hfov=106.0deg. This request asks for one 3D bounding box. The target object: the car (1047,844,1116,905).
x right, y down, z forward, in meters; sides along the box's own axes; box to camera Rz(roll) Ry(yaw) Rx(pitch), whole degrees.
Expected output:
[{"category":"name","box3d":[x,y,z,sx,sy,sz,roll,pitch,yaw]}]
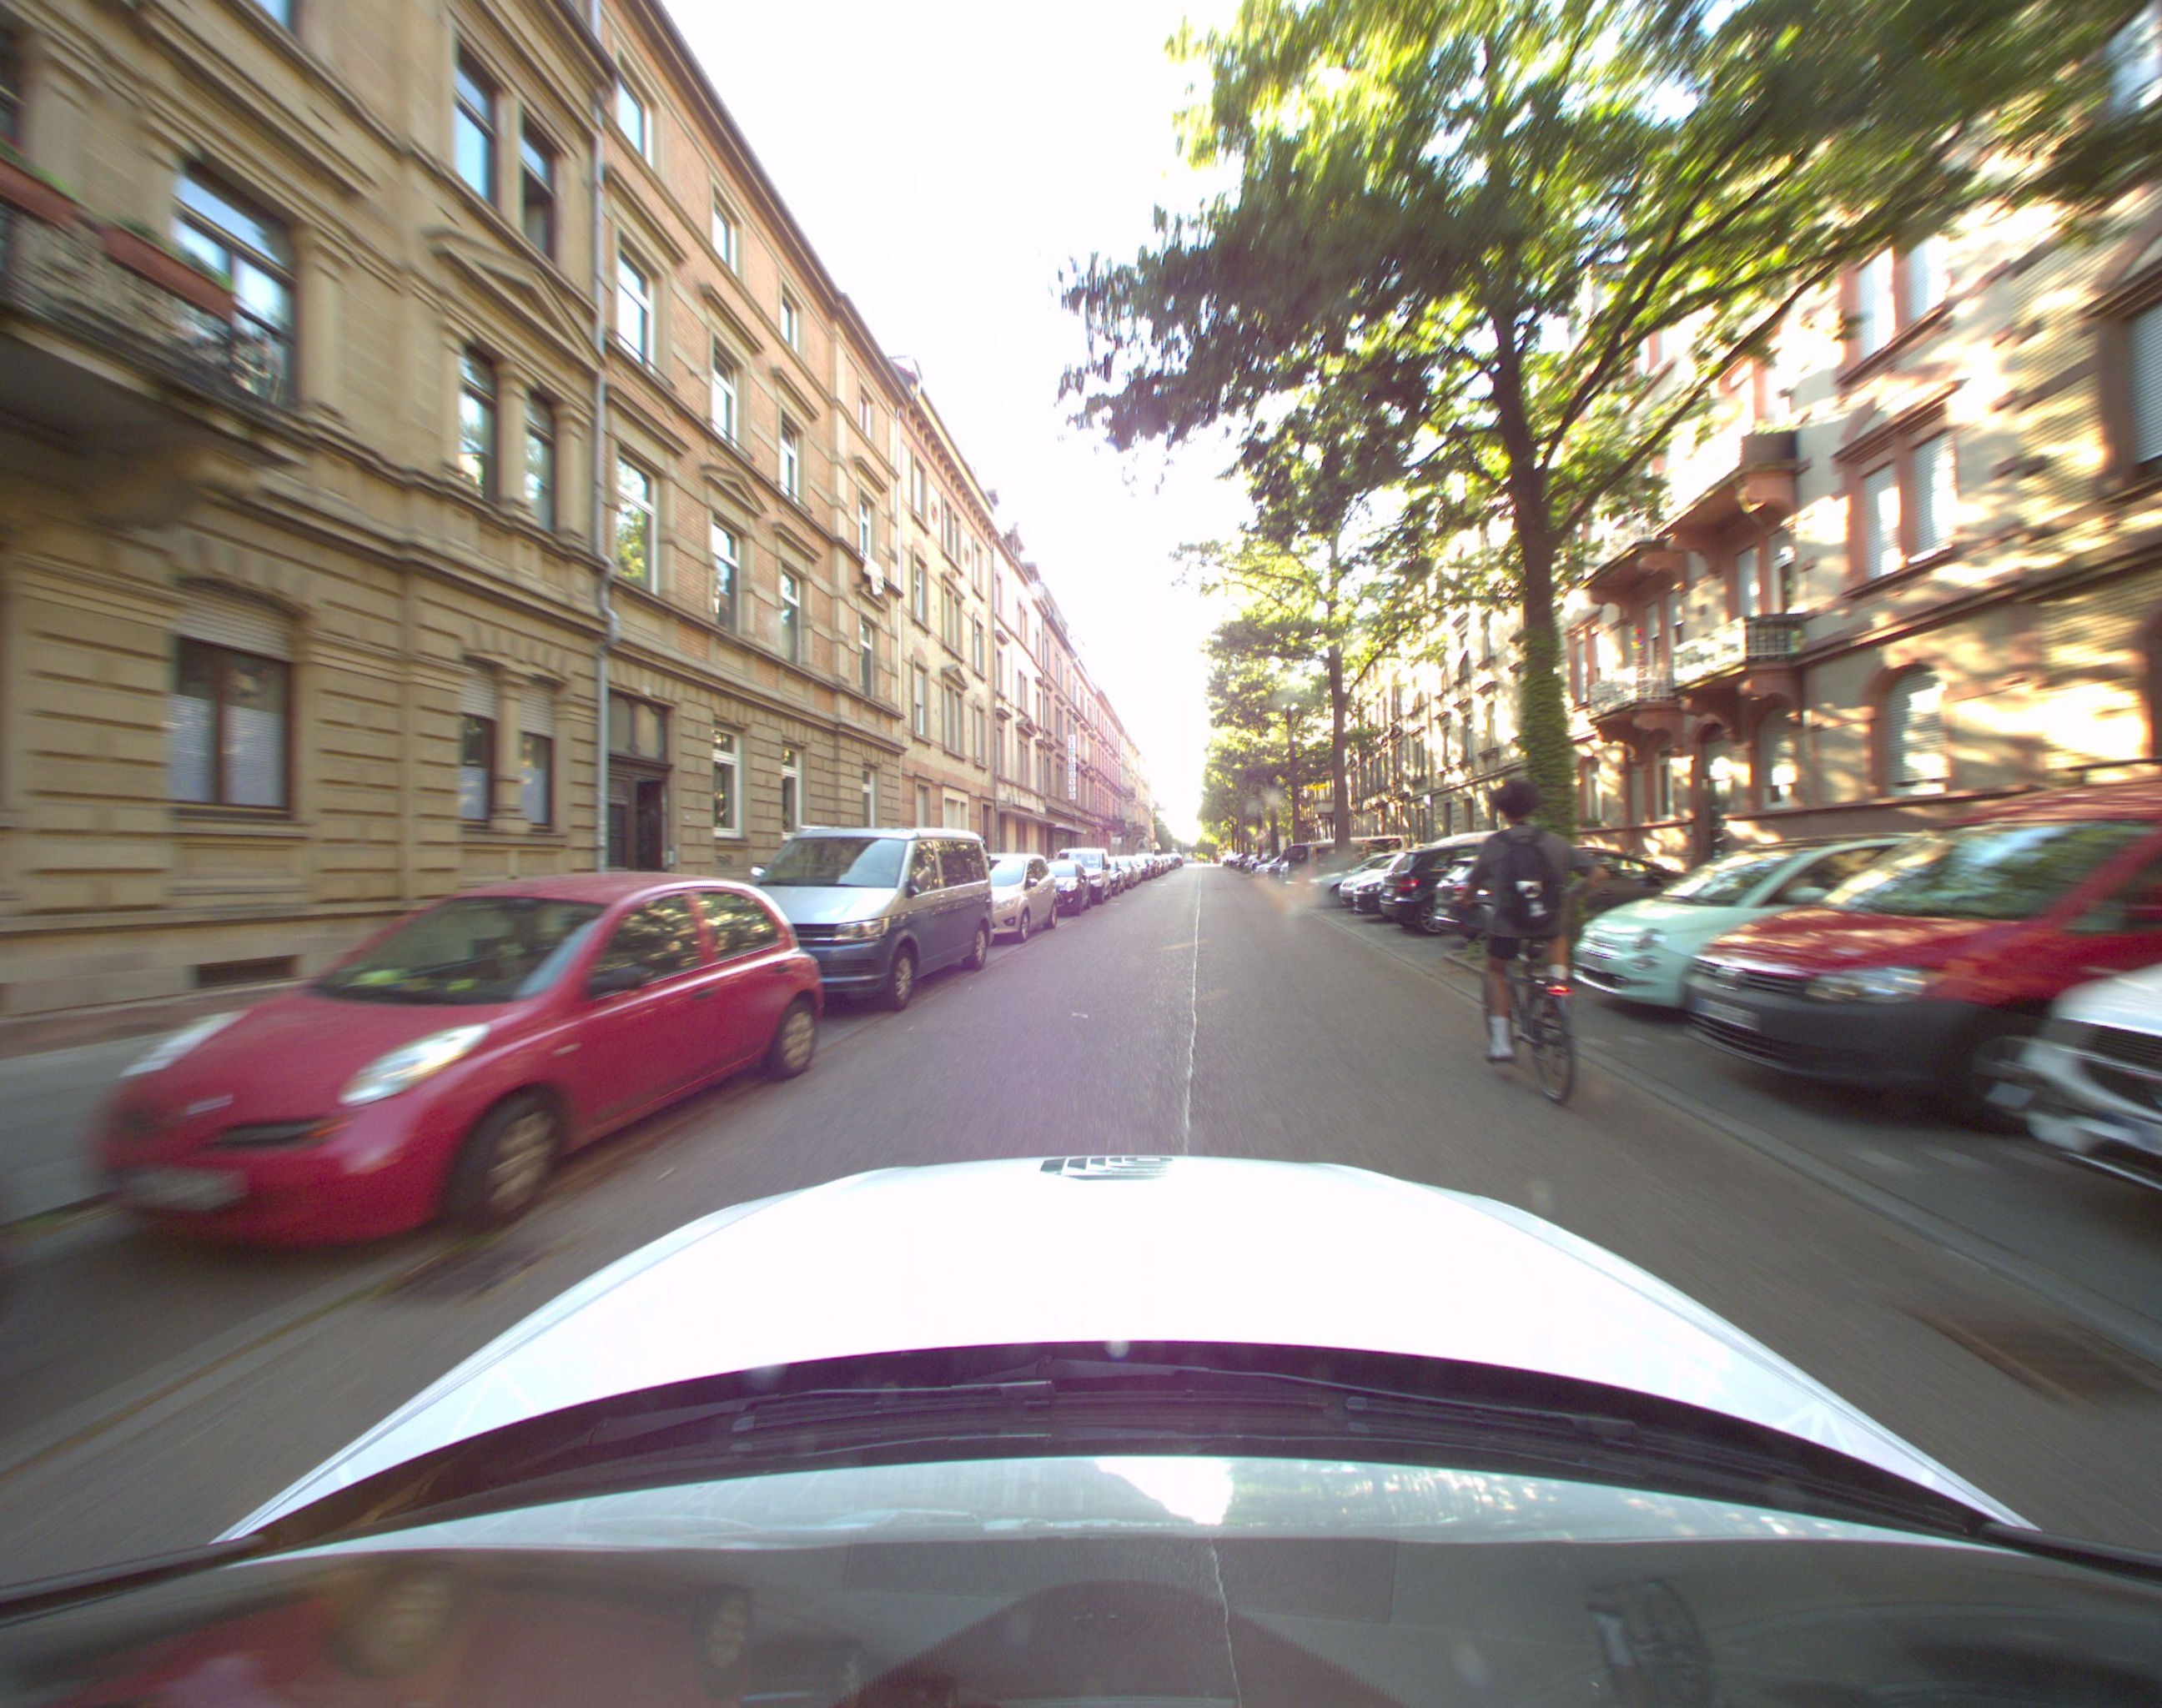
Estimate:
[{"category":"car","box3d":[0.101,0.646,27.774,1.749,1.842,4.539,-2,0,7]}]

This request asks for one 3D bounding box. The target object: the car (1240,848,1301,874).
[{"category":"car","box3d":[13.235,0.475,56.937,3.837,1.574,1.718,-3,-1,0]}]

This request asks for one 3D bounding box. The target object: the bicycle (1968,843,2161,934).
[{"category":"bicycle","box3d":[12.197,0.392,10.070,0.550,1.001,1.898,-3,-1,9]}]

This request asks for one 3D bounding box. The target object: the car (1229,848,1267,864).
[{"category":"car","box3d":[18.179,0.195,88.767,3.829,1.574,1.721,-3,-1,7]}]

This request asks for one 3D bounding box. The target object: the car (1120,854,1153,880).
[{"category":"car","box3d":[3.459,0.753,49.848,1.749,1.473,4.067,-2,0,7]}]

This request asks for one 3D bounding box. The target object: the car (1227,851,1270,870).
[{"category":"car","box3d":[15.750,0.611,76.692,3.828,1.574,1.722,-3,-1,8]}]

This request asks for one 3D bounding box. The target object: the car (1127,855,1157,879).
[{"category":"car","box3d":[4.130,0.829,54.577,1.749,1.473,4.067,-2,0,7]}]

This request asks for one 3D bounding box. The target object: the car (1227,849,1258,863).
[{"category":"car","box3d":[20.957,0.217,105.898,3.829,1.574,1.721,-3,-1,7]}]

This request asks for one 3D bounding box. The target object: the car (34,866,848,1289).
[{"category":"car","box3d":[-3.015,0.838,4.916,1.582,1.475,3.710,0,0,10]}]

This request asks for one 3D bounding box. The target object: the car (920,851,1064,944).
[{"category":"car","box3d":[-1.621,0.761,16.445,1.743,1.608,4.395,0,0,9]}]

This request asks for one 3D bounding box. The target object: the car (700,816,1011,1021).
[{"category":"car","box3d":[-2.418,0.609,10.435,1.821,1.943,5.272,0,0,8]}]

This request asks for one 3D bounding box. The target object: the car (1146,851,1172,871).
[{"category":"car","box3d":[6.434,0.636,66.926,1.982,1.486,4.008,-2,-2,7]}]

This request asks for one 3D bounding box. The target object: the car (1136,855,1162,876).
[{"category":"car","box3d":[5.107,0.823,61.011,1.749,1.473,4.067,-2,0,7]}]

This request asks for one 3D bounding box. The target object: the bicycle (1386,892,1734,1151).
[{"category":"bicycle","box3d":[2.959,0.910,5.580,0.990,1.158,2.929,-1,0,8]}]

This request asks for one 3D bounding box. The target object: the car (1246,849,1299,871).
[{"category":"car","box3d":[15.621,0.467,66.463,3.837,1.574,1.718,-3,-1,0]}]

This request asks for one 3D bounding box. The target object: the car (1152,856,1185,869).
[{"category":"car","box3d":[10.482,1.030,97.190,1.974,1.486,4.024,-3,-3,40]}]

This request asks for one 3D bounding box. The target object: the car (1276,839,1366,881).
[{"category":"car","box3d":[11.596,0.302,39.480,3.832,1.797,1.720,-3,-1,5]}]

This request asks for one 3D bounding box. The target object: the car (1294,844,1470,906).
[{"category":"car","box3d":[8.274,0.568,22.688,4.203,1.403,1.837,-3,0,3]}]

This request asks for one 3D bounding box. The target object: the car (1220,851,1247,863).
[{"category":"car","box3d":[22.236,0.467,118.872,3.829,1.574,1.721,-3,-1,7]}]

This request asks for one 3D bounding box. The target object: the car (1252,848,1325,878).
[{"category":"car","box3d":[11.938,0.506,47.040,3.832,1.479,1.720,-3,-1,5]}]

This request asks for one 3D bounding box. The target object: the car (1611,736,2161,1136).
[{"category":"car","box3d":[6.079,0.320,4.895,4.422,1.924,1.853,-4,0,5]}]

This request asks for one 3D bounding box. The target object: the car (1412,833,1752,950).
[{"category":"car","box3d":[7.371,0.558,12.375,3.988,1.467,1.737,-3,-1,8]}]

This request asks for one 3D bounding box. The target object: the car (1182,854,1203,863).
[{"category":"car","box3d":[22.596,0.881,165.264,3.956,1.859,1.759,0,0,16]}]

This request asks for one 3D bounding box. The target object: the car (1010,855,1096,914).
[{"category":"car","box3d":[-0.686,0.787,22.726,1.749,1.467,4.008,1,0,7]}]

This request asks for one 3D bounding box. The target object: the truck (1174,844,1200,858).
[{"category":"truck","box3d":[29.350,-0.817,225.065,7.264,3.950,2.415,1,0,-28]}]

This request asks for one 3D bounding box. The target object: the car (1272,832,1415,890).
[{"category":"car","box3d":[10.178,0.260,31.912,5.028,1.925,1.839,-3,-1,8]}]

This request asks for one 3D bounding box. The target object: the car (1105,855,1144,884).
[{"category":"car","box3d":[2.389,0.793,43.669,1.749,1.473,4.067,-2,0,7]}]

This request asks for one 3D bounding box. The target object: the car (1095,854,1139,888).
[{"category":"car","box3d":[1.764,0.755,38.829,1.749,1.473,4.067,-2,0,7]}]

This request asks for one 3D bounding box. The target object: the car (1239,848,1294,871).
[{"category":"car","box3d":[14.593,0.446,64.172,3.837,1.574,1.718,-3,-1,0]}]

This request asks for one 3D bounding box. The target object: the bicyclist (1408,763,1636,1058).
[{"category":"bicyclist","box3d":[2.936,0.351,5.596,0.990,1.790,1.210,-1,0,7]}]

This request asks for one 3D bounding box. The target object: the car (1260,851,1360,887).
[{"category":"car","box3d":[9.755,0.617,34.863,3.832,1.294,1.720,-3,0,5]}]

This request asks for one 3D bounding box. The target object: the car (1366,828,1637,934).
[{"category":"car","box3d":[7.505,0.490,14.892,3.988,1.607,1.737,-3,-1,8]}]

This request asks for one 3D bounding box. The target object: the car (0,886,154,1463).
[{"category":"car","box3d":[-3.951,0.844,0.542,1.749,1.501,4.069,0,0,8]}]

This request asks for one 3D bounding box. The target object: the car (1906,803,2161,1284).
[{"category":"car","box3d":[5.651,0.495,2.360,4.320,1.556,1.854,-4,0,7]}]

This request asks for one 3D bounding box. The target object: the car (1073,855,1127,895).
[{"category":"car","box3d":[0.838,0.799,32.783,1.749,1.473,4.067,-2,0,7]}]

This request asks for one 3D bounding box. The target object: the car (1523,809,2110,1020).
[{"category":"car","box3d":[6.422,0.487,7.498,3.644,1.455,1.851,-4,0,2]}]

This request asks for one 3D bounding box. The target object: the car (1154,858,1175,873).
[{"category":"car","box3d":[8.943,1.240,86.943,1.982,1.486,4.008,-2,-2,7]}]

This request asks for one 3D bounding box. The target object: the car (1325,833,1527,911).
[{"category":"car","box3d":[8.469,0.433,20.258,4.206,1.611,1.835,-3,-1,1]}]

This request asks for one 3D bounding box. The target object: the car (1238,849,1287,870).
[{"category":"car","box3d":[15.846,0.495,71.133,3.837,1.574,1.718,-3,-1,0]}]

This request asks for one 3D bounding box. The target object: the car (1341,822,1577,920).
[{"category":"car","box3d":[7.990,0.369,17.588,4.198,1.776,1.839,-3,-1,7]}]

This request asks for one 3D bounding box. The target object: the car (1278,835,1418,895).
[{"category":"car","box3d":[9.220,0.369,28.264,4.223,1.795,1.828,-3,-1,-12]}]
